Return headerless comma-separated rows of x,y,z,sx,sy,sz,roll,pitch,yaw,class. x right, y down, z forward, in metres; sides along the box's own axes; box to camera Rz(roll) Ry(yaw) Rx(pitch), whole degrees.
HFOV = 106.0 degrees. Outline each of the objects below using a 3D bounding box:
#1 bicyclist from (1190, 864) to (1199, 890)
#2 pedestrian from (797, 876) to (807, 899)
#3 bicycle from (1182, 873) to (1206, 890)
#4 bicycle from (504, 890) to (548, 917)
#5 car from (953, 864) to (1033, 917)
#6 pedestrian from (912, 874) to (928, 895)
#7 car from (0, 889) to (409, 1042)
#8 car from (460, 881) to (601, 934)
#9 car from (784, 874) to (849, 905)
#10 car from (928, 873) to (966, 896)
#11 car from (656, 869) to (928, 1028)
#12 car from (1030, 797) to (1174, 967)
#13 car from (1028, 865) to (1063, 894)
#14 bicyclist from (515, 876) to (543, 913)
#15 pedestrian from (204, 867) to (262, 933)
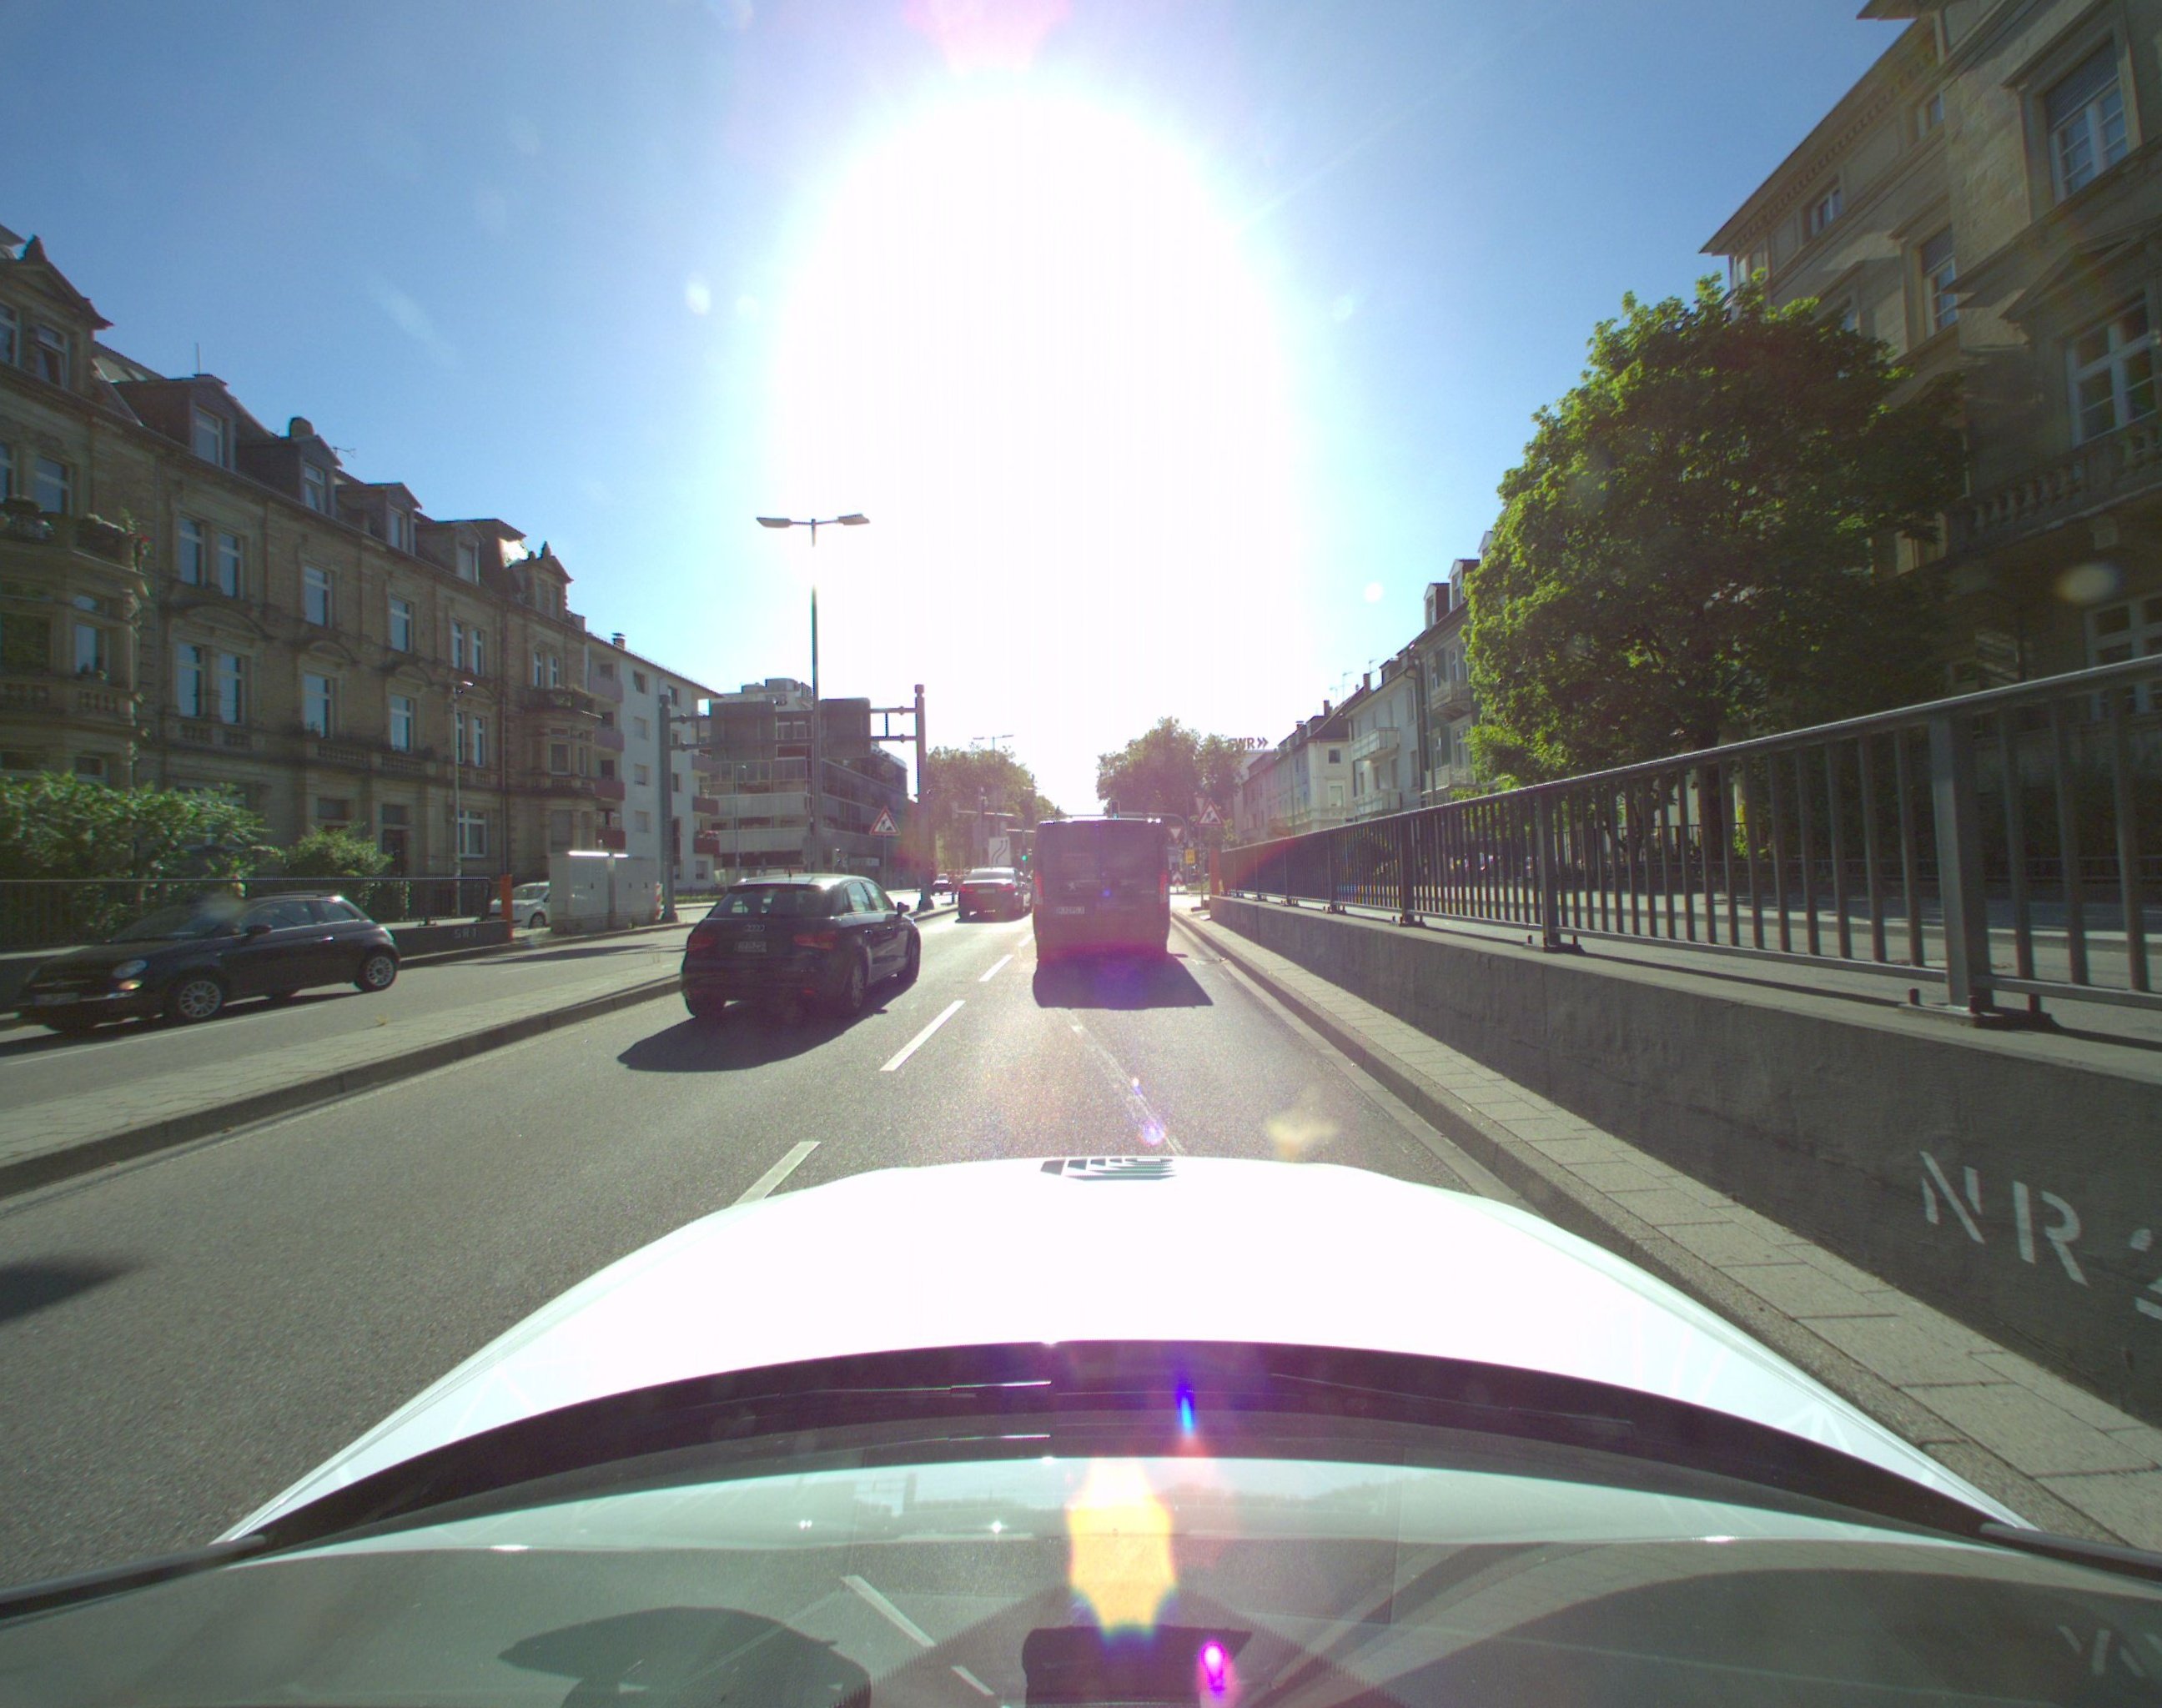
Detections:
7.703,1.552,55.422,0.507,1.735,0.598,0,-1,1,bicyclist
-22.602,2.717,65.967,0.659,1.896,0.720,0,-1,-11,pedestrian
7.663,1.866,55.416,1.560,1.118,0.570,0,-1,1,bicycle
-25.049,2.223,36.820,0.585,1.104,1.974,0,-1,2,bicycle
-2.577,1.039,25.024,1.802,1.439,5.003,0,-1,1,car
-15.535,2.930,78.534,1.327,1.931,1.026,0,-1,1,pedestrian
-11.033,1.284,10.567,1.586,1.445,3.496,-4,-1,1,car
-16.847,1.598,25.146,1.668,1.410,3.620,-1,-1,5,car
-14.464,1.914,44.714,1.926,1.555,3.929,0,-1,6,car
-9.536,2.138,58.316,1.928,1.555,3.925,0,-1,2,car
-3.017,0.904,9.424,1.689,1.419,3.889,0,-1,1,car
0.364,0.423,13.692,2.022,2.402,3.974,-1,-1,2,car
-1.903,1.366,44.113,1.613,1.403,3.853,0,0,1,car
-25.048,1.818,36.951,0.585,1.659,0.951,0,-1,1,bicyclist
-22.395,1.205,21.519,0.633,1.706,0.834,0,-1,1,pedestrian
